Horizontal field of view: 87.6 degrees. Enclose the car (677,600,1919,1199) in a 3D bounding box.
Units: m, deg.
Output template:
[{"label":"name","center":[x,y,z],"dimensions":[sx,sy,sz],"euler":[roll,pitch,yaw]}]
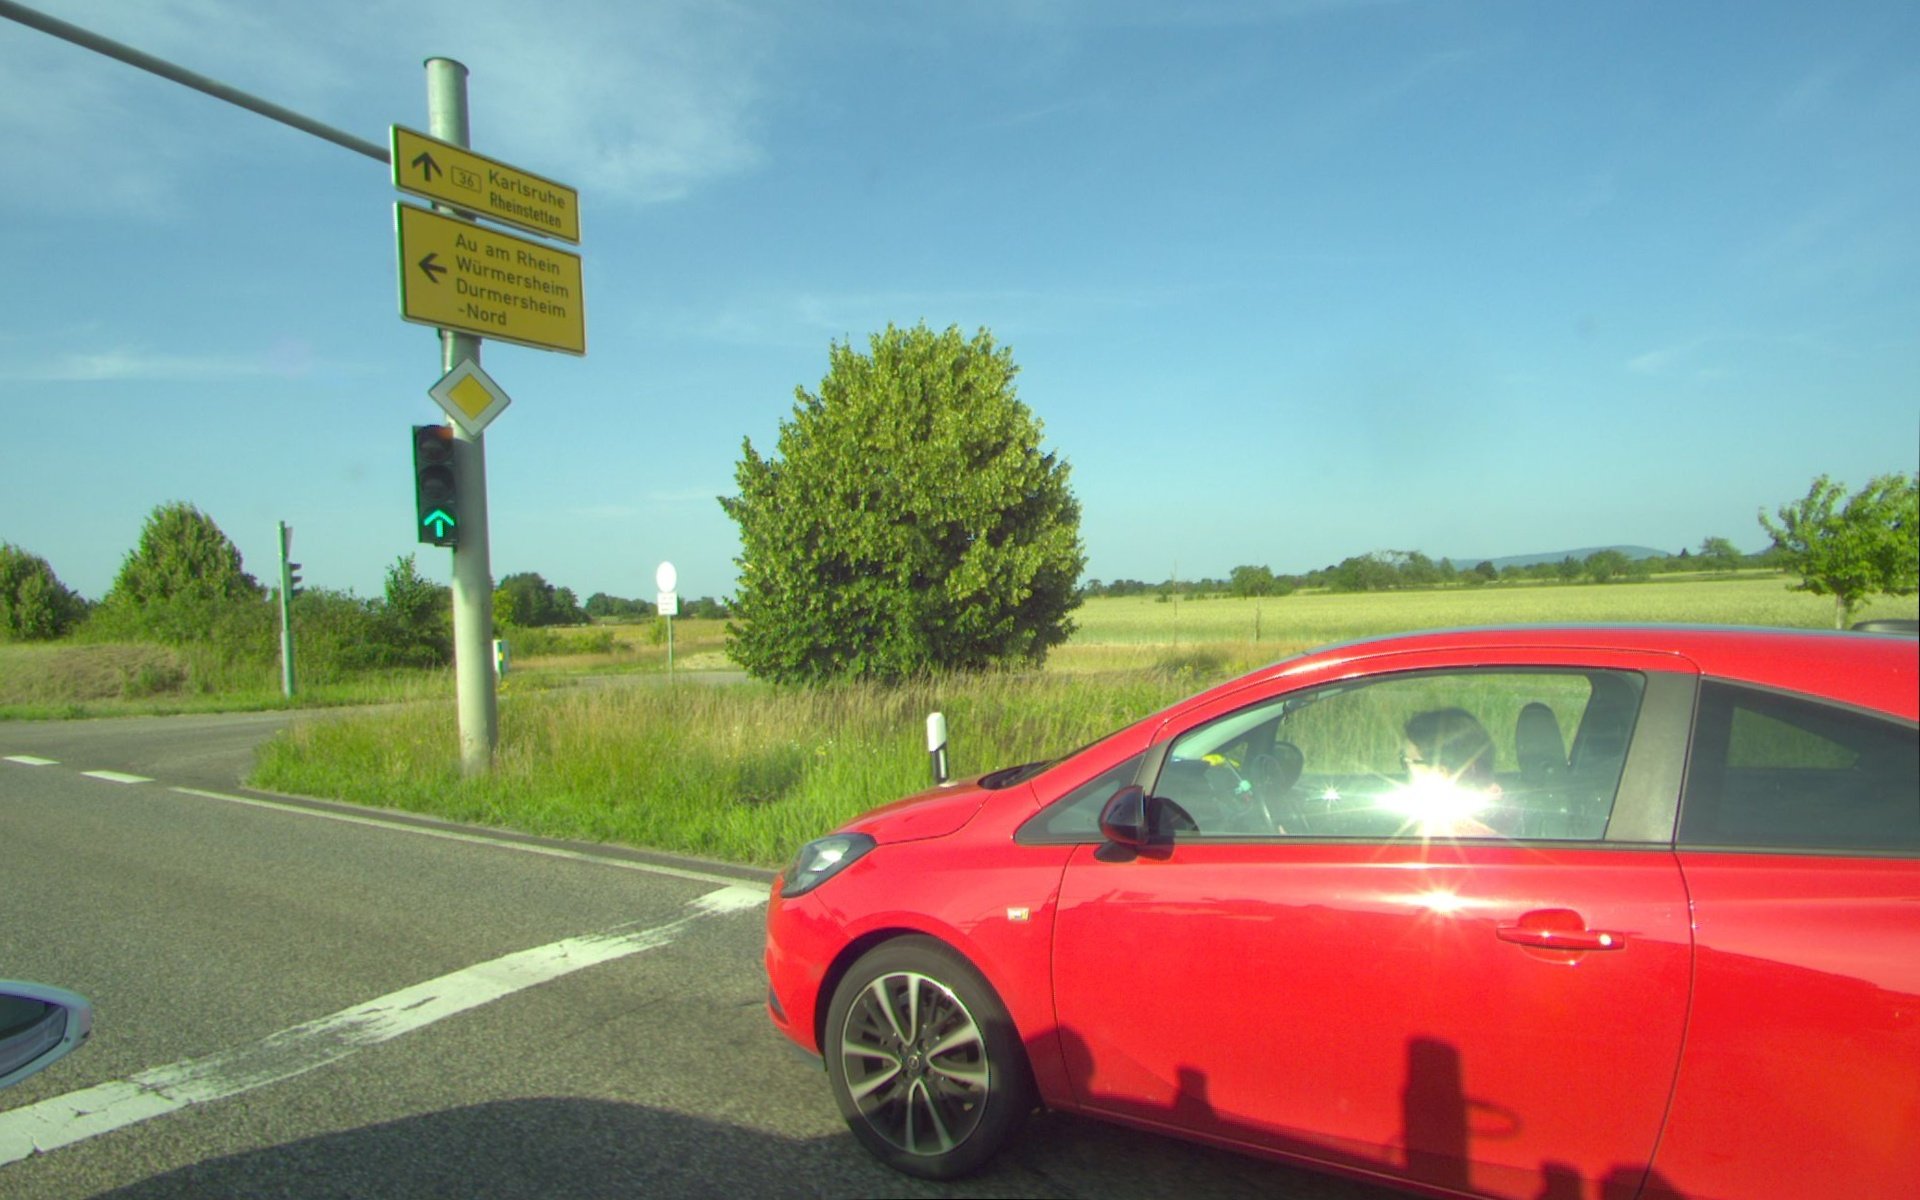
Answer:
[{"label":"car","center":[1.234,0.781,2.826],"dimensions":[3.896,1.483,1.659],"euler":[-2,-1,30]}]
